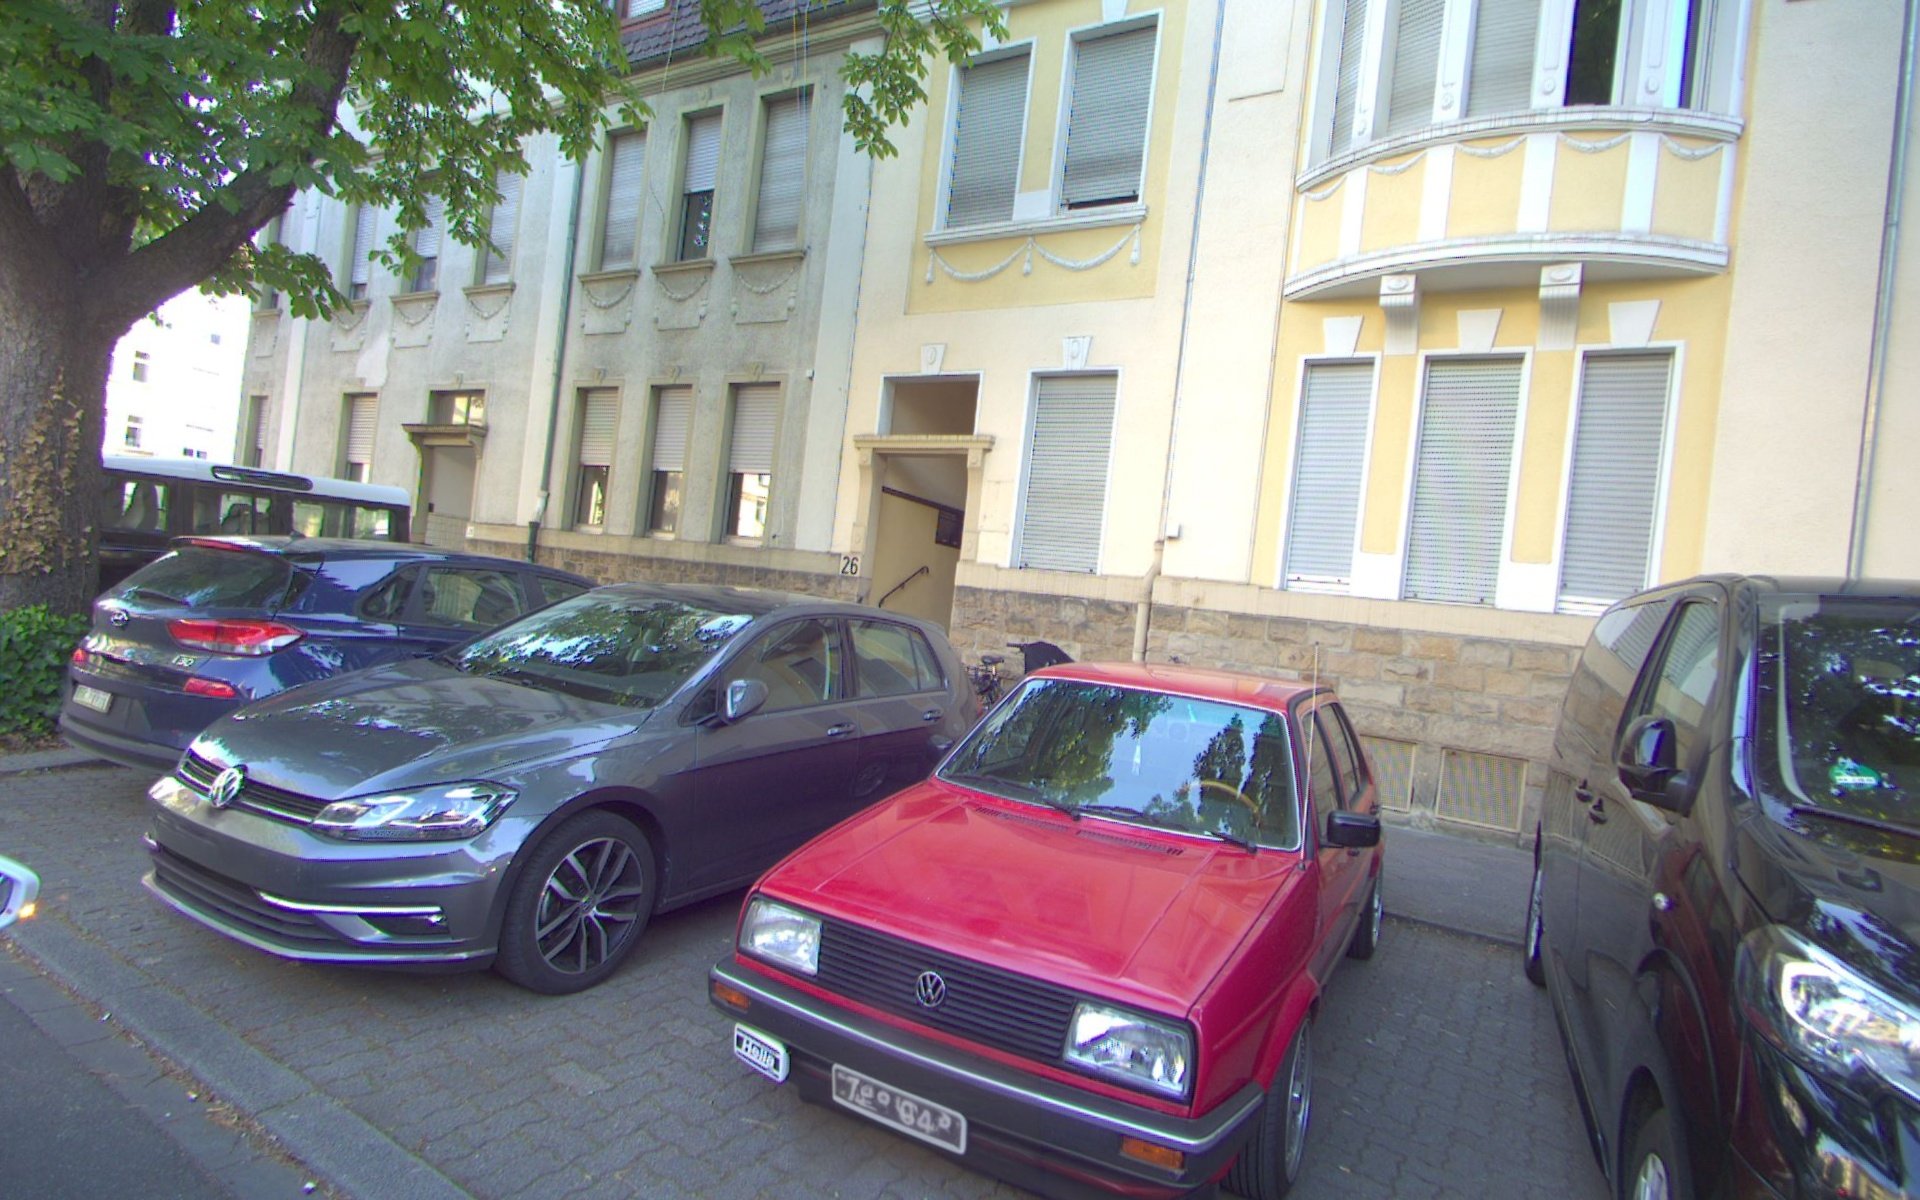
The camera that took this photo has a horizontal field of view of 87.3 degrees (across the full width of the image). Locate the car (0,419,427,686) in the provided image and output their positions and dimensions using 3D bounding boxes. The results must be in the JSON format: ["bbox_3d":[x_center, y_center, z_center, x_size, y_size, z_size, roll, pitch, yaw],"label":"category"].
[{"bbox_3d":[-7.592,-0.367,9.234,1.671,2.061,4.473,6,0,28],"label":"car"}]

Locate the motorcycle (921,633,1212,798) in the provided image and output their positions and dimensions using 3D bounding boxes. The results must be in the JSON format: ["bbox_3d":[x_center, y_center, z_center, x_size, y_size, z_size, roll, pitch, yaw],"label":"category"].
[{"bbox_3d":[0.956,0.998,9.394,2.439,1.087,0.959,7,2,32],"label":"motorcycle"}]

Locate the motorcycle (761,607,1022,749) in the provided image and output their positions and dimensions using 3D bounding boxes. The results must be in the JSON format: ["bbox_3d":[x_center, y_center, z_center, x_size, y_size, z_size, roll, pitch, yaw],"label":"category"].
[{"bbox_3d":[-0.789,0.777,10.783,2.822,1.087,0.694,7,2,31],"label":"motorcycle"}]

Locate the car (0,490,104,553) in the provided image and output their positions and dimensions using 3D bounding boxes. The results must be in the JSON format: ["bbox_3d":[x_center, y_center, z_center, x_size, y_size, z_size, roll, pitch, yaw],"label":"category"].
[{"bbox_3d":[-28.015,-2.437,29.287,1.632,1.514,4.357,7,-1,25],"label":"car"}]

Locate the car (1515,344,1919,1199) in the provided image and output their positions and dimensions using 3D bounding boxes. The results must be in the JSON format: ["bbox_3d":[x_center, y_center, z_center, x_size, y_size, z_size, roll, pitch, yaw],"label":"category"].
[{"bbox_3d":[2.853,0.871,2.876,1.864,1.898,4.759,6,0,27],"label":"car"}]

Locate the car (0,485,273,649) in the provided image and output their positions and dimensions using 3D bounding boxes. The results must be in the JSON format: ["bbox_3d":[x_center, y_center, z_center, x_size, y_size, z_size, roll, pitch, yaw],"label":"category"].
[{"bbox_3d":[-9.986,-0.384,10.935,1.679,1.589,3.730,6,0,28],"label":"car"}]

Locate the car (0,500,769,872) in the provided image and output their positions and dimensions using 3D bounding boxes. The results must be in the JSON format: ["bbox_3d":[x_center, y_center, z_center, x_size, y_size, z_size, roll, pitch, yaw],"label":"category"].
[{"bbox_3d":[-3.084,0.426,6.197,1.679,1.470,3.730,6,0,28],"label":"car"}]

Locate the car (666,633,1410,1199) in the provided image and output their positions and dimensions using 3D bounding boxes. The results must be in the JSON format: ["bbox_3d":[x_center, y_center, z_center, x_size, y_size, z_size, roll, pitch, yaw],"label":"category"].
[{"bbox_3d":[0.876,0.947,4.303,1.601,1.332,4.144,6,0,27],"label":"car"}]

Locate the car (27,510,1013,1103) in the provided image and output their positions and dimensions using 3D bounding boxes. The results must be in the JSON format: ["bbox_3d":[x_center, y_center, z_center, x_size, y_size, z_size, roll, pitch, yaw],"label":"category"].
[{"bbox_3d":[-1.431,0.623,4.815,1.693,1.470,4.060,6,0,28],"label":"car"}]
